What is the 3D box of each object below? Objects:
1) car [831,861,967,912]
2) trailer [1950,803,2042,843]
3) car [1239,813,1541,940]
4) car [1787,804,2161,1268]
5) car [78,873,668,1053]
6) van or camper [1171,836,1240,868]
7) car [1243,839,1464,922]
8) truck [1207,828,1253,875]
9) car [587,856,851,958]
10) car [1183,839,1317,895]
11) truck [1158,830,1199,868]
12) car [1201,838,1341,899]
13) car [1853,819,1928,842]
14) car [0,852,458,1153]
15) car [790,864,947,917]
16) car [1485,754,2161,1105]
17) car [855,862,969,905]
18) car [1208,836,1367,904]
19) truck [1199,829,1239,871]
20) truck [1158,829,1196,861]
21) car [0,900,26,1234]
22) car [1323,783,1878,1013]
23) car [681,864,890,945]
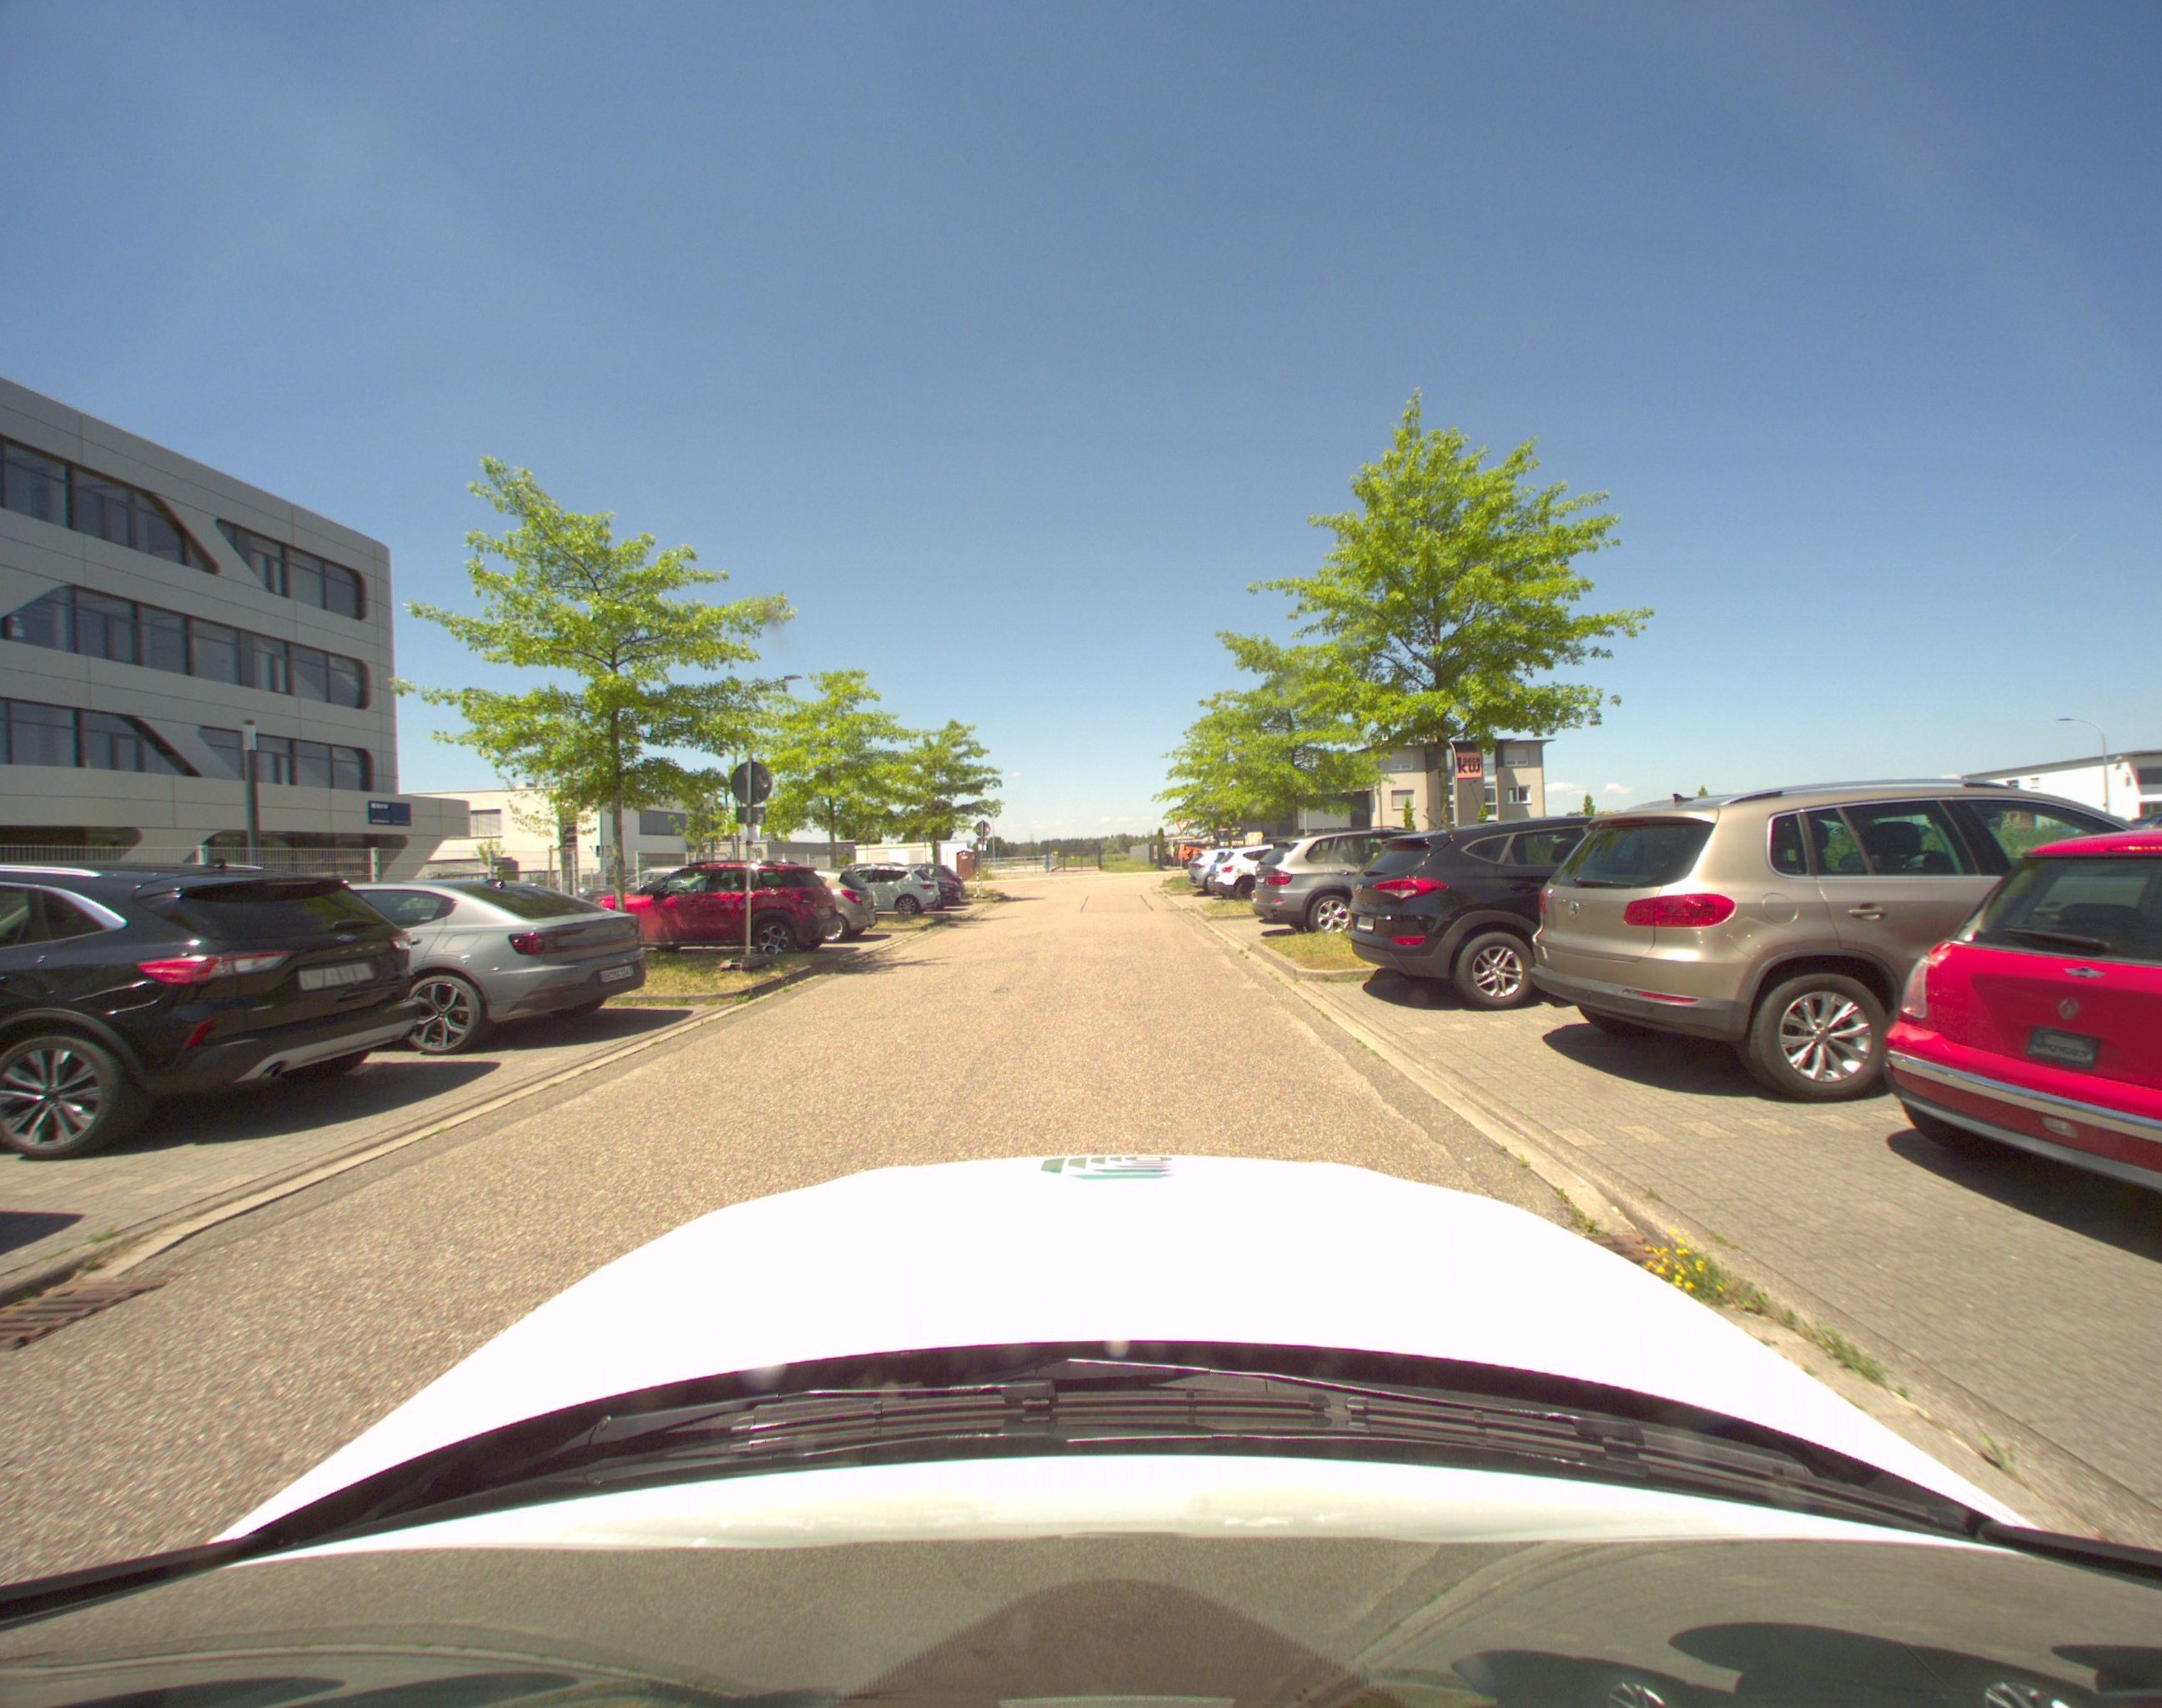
[{"bbox_3d":[-5.709,1.014,25.898,3.916,1.520,1.784,0,0,-1],"label":"car"},{"bbox_3d":[65.258,-2.170,58.115,3.974,2.600,2.233,-3,0,0],"label":"trailer"},{"bbox_3d":[5.204,0.366,14.189,4.435,1.768,1.992,-4,0,-1],"label":"car"},{"bbox_3d":[5.074,0.474,2.942,3.445,1.417,1.755,-4,0,1],"label":"car"},{"bbox_3d":[-6.490,0.946,7.795,4.177,1.480,1.713,0,0,2],"label":"car"},{"bbox_3d":[9.389,-0.184,61.731,4.919,2.163,2.001,-3,1,1],"label":"van or camper"},{"bbox_3d":[5.495,0.537,16.844,3.908,1.410,1.910,-3,-2,1],"label":"car"},{"bbox_3d":[13.405,-0.183,73.712,2.911,3.929,6.937,-3,0,1],"label":"truck"},{"bbox_3d":[-6.142,0.868,14.124,3.723,1.621,1.818,-1,0,2],"label":"car"},{"bbox_3d":[5.817,0.444,28.464,4.263,1.644,1.852,-4,0,2],"label":"car"},{"bbox_3d":[8.403,-0.412,70.802,2.717,3.061,6.937,-3,0,1],"label":"truck"},{"bbox_3d":[5.984,0.447,25.976,3.973,1.644,1.838,-3,0,1],"label":"car"},{"bbox_3d":[57.616,-1.670,58.001,3.616,1.384,1.679,-3,1,2],"label":"car"},{"bbox_3d":[-6.852,0.837,5.398,3.978,1.678,1.775,0,0,-4],"label":"car"},{"bbox_3d":[-6.055,1.022,23.628,4.065,1.424,1.872,0,0,-2],"label":"car"},{"bbox_3d":[4.979,0.366,5.170,3.860,1.678,1.783,-4,0,2],"label":"car"},{"bbox_3d":[-5.856,1.018,28.528,3.615,1.436,1.725,0,0,-1],"label":"car"},{"bbox_3d":[5.833,0.451,23.424,4.052,1.607,1.902,-4,-1,2],"label":"car"},{"bbox_3d":[13.766,-0.400,81.749,2.911,3.929,6.937,-3,0,1],"label":"truck"},{"bbox_3d":[9.329,-0.842,79.815,2.911,2.937,6.937,-3,0,1],"label":"truck"},{"bbox_3d":[-6.756,0.941,2.803,4.025,1.461,1.603,0,0,-1],"label":"car"},{"bbox_3d":[4.722,0.378,7.885,4.159,1.696,1.782,-4,0,0],"label":"car"},{"bbox_3d":[-5.953,1.000,16.736,3.647,1.508,1.730,-1,0,-2],"label":"car"}]
